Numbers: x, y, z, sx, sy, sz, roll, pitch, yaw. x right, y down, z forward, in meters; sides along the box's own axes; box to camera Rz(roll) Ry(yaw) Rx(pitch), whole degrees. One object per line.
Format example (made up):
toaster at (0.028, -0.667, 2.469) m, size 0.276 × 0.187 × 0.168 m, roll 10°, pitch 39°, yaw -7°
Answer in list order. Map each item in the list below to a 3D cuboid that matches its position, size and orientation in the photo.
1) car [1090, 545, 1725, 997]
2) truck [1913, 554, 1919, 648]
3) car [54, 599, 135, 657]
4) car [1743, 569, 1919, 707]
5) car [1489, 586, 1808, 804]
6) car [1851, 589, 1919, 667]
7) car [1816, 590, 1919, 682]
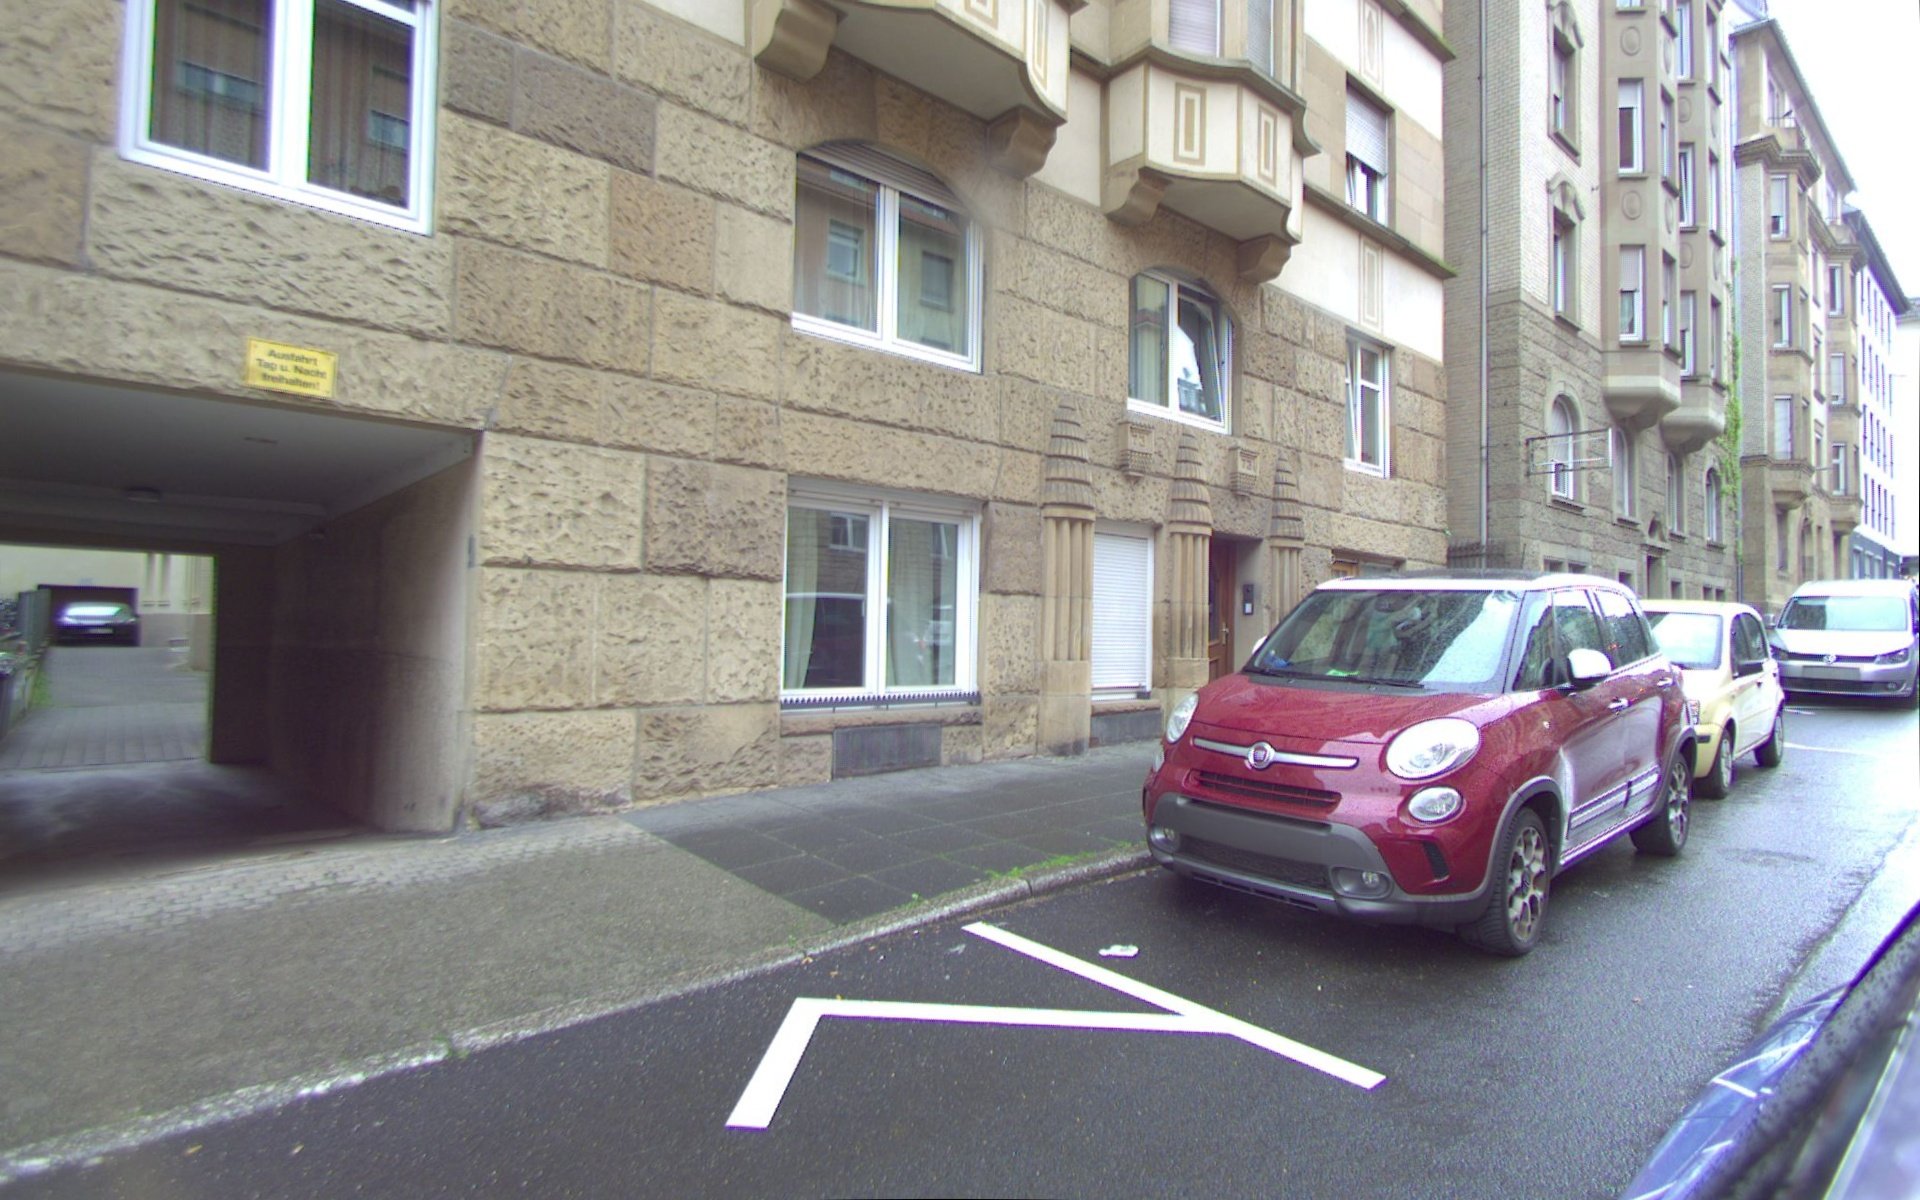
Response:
car at (2.695, 0.617, 5.638) m, size 3.932 × 1.619 × 1.804 m, roll 0°, pitch -1°, yaw -42°
truck at (29.179, 0.023, 28.888) m, size 6.036 × 2.568 × 2.233 m, roll 0°, pitch -1°, yaw -41°
car at (-25.169, 0.774, 29.462) m, size 1.692 × 1.541 × 4.098 m, roll 0°, pitch -1°, yaw -41°
car at (13.780, 0.503, 15.518) m, size 4.380 × 1.825 × 1.966 m, roll 0°, pitch -1°, yaw -41°
car at (6.216, 0.680, 9.000) m, size 3.517 × 1.549 × 1.578 m, roll 0°, pitch -1°, yaw -43°
car at (20.493, 0.549, 21.449) m, size 3.860 × 1.549 × 1.889 m, roll 0°, pitch -1°, yaw -41°
car at (17.188, 0.602, 18.509) m, size 3.934 × 1.549 × 1.994 m, roll 0°, pitch -1°, yaw -45°
